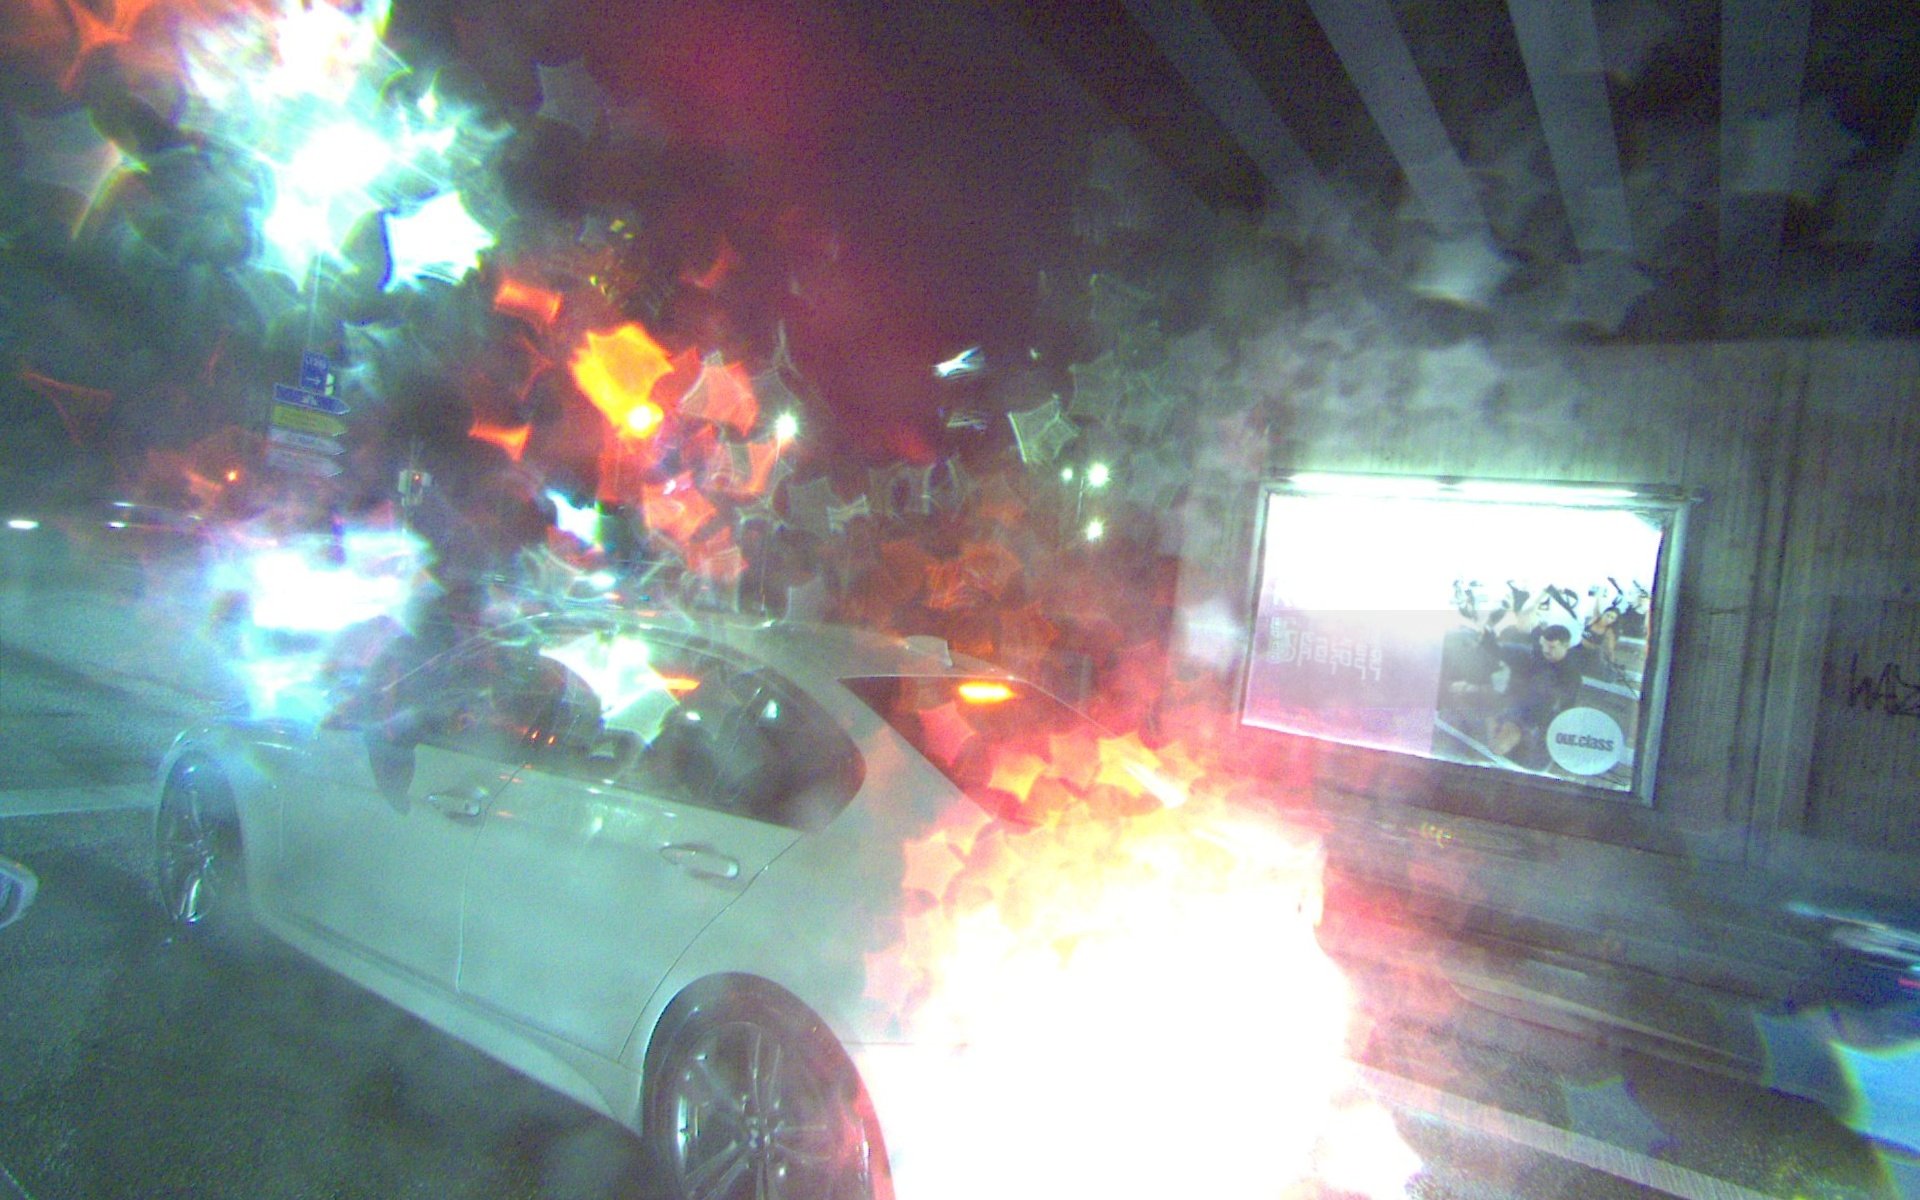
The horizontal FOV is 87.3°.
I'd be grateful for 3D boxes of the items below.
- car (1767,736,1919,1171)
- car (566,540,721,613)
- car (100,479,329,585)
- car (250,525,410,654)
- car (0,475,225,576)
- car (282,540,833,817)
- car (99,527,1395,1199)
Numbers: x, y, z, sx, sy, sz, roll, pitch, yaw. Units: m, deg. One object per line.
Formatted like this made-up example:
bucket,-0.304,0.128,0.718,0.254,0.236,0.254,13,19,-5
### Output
car,5.424,1.524,3.471,3.694,1.448,1.755,7,-1,27
car,-11.458,-0.797,36.773,1.969,2.009,5.093,7,-1,36
car,-21.458,-1.890,29.115,2.115,2.169,4.903,6,-3,45
car,-9.133,-0.177,14.644,1.623,1.475,3.564,8,-2,-32
car,-20.231,-1.714,23.783,1.881,1.605,4.077,6,-4,32
car,-3.423,0.512,8.271,4.490,1.406,1.755,7,-1,32
car,-0.985,0.706,3.491,4.277,1.420,1.720,6,-2,32
